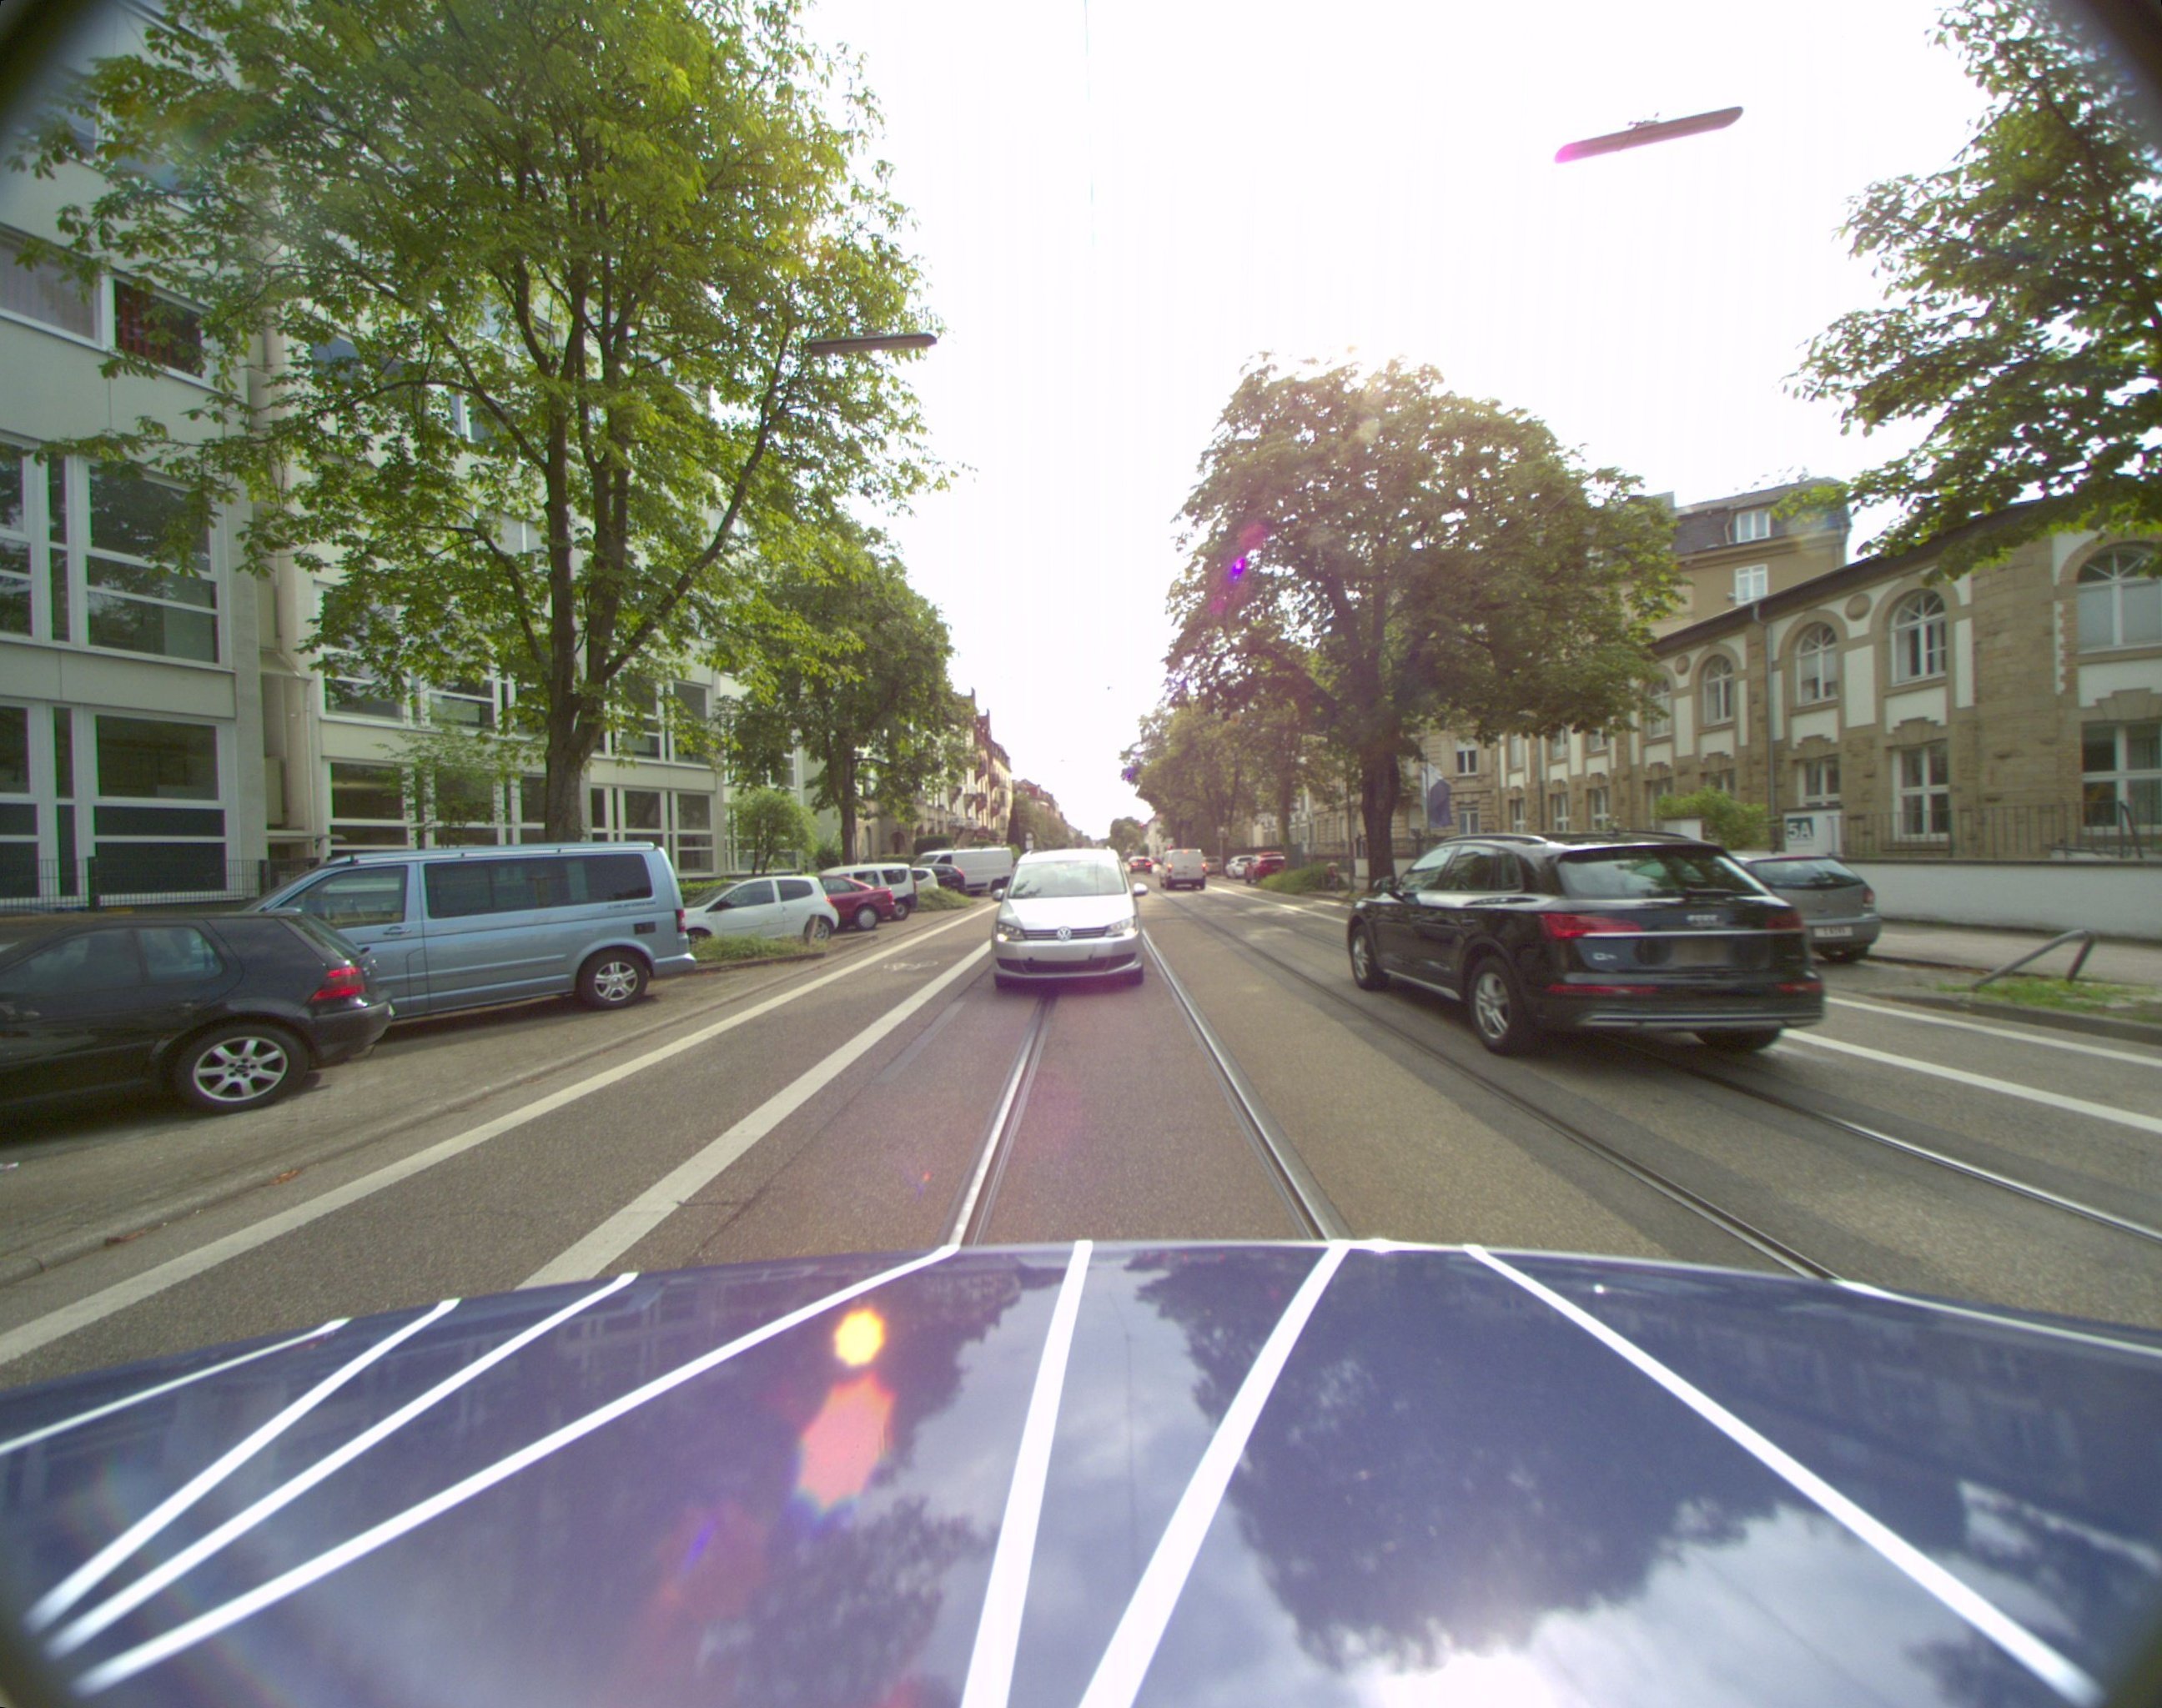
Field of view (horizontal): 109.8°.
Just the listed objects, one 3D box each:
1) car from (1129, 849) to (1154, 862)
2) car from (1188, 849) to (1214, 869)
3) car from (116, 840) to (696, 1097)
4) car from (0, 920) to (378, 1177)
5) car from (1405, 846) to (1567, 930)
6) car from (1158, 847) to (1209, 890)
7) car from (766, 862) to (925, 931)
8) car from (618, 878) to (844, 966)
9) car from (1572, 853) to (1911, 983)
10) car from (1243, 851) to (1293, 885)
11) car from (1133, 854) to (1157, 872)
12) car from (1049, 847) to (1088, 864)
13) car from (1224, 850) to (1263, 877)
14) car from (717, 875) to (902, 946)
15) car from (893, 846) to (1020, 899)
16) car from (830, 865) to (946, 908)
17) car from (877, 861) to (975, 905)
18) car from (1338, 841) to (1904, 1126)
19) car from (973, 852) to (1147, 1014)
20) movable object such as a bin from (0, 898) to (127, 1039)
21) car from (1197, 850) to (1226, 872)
[{"bbox_3d":[9.941,0.257,124.459,3.995,2.002,2.001,-2,0,5],"label":"car"},{"bbox_3d":[10.447,0.415,66.555,1.659,1.624,3.906,-2,0,1],"label":"car"},{"bbox_3d":[-6.994,0.931,8.455,4.354,2.052,1.994,-2,0,-45],"label":"car"},{"bbox_3d":[-7.411,1.316,5.009,3.980,1.379,1.810,-3,-1,-44],"label":"car"},{"bbox_3d":[8.977,0.684,17.211,1.659,1.624,3.725,-2,0,1],"label":"car"},{"bbox_3d":[4.805,0.642,36.176,1.799,1.813,4.678,-2,0,1],"label":"car"},{"bbox_3d":[-6.550,1.108,21.311,3.777,1.609,1.809,-2,1,-40],"label":"car"},{"bbox_3d":[-6.856,1.239,15.094,3.652,1.322,1.763,-3,1,-44],"label":"car"},{"bbox_3d":[8.830,0.743,10.622,1.632,1.456,3.574,-2,0,1],"label":"car"},{"bbox_3d":[9.749,0.684,39.944,1.659,1.624,3.906,-2,0,1],"label":"car"},{"bbox_3d":[5.720,0.783,68.581,1.786,1.506,4.144,-2,0,1],"label":"car"},{"bbox_3d":[-2.036,0.178,125.045,5.921,2.585,2.003,-2,0,20],"label":"car"},{"bbox_3d":[10.361,0.577,48.703,1.659,1.592,3.906,-2,0,1],"label":"car"},{"bbox_3d":[-6.513,1.279,18.393,3.777,1.331,1.809,-2,1,-40],"label":"car"},{"bbox_3d":[-5.727,0.819,35.491,5.449,2.163,2.142,-2,1,-40],"label":"car"},{"bbox_3d":[-6.979,1.136,27.678,3.652,1.322,1.763,-3,1,-44],"label":"car"},{"bbox_3d":[-6.485,1.166,31.811,3.649,1.580,1.764,-2,1,-25],"label":"car"},{"bbox_3d":[3.878,0.758,6.594,1.852,1.603,4.334,-2,0,1],"label":"car"},{"bbox_3d":[-0.199,0.853,10.524,1.816,1.691,4.617,-2,0,1],"label":"car"},{"bbox_3d":[-12.223,1.276,8.489,1.334,1.450,1.400,-2,0,5],"label":"movable object such as a bin"},{"bbox_3d":[10.137,0.509,59.245,1.659,1.624,3.906,-2,0,1],"label":"car"}]
